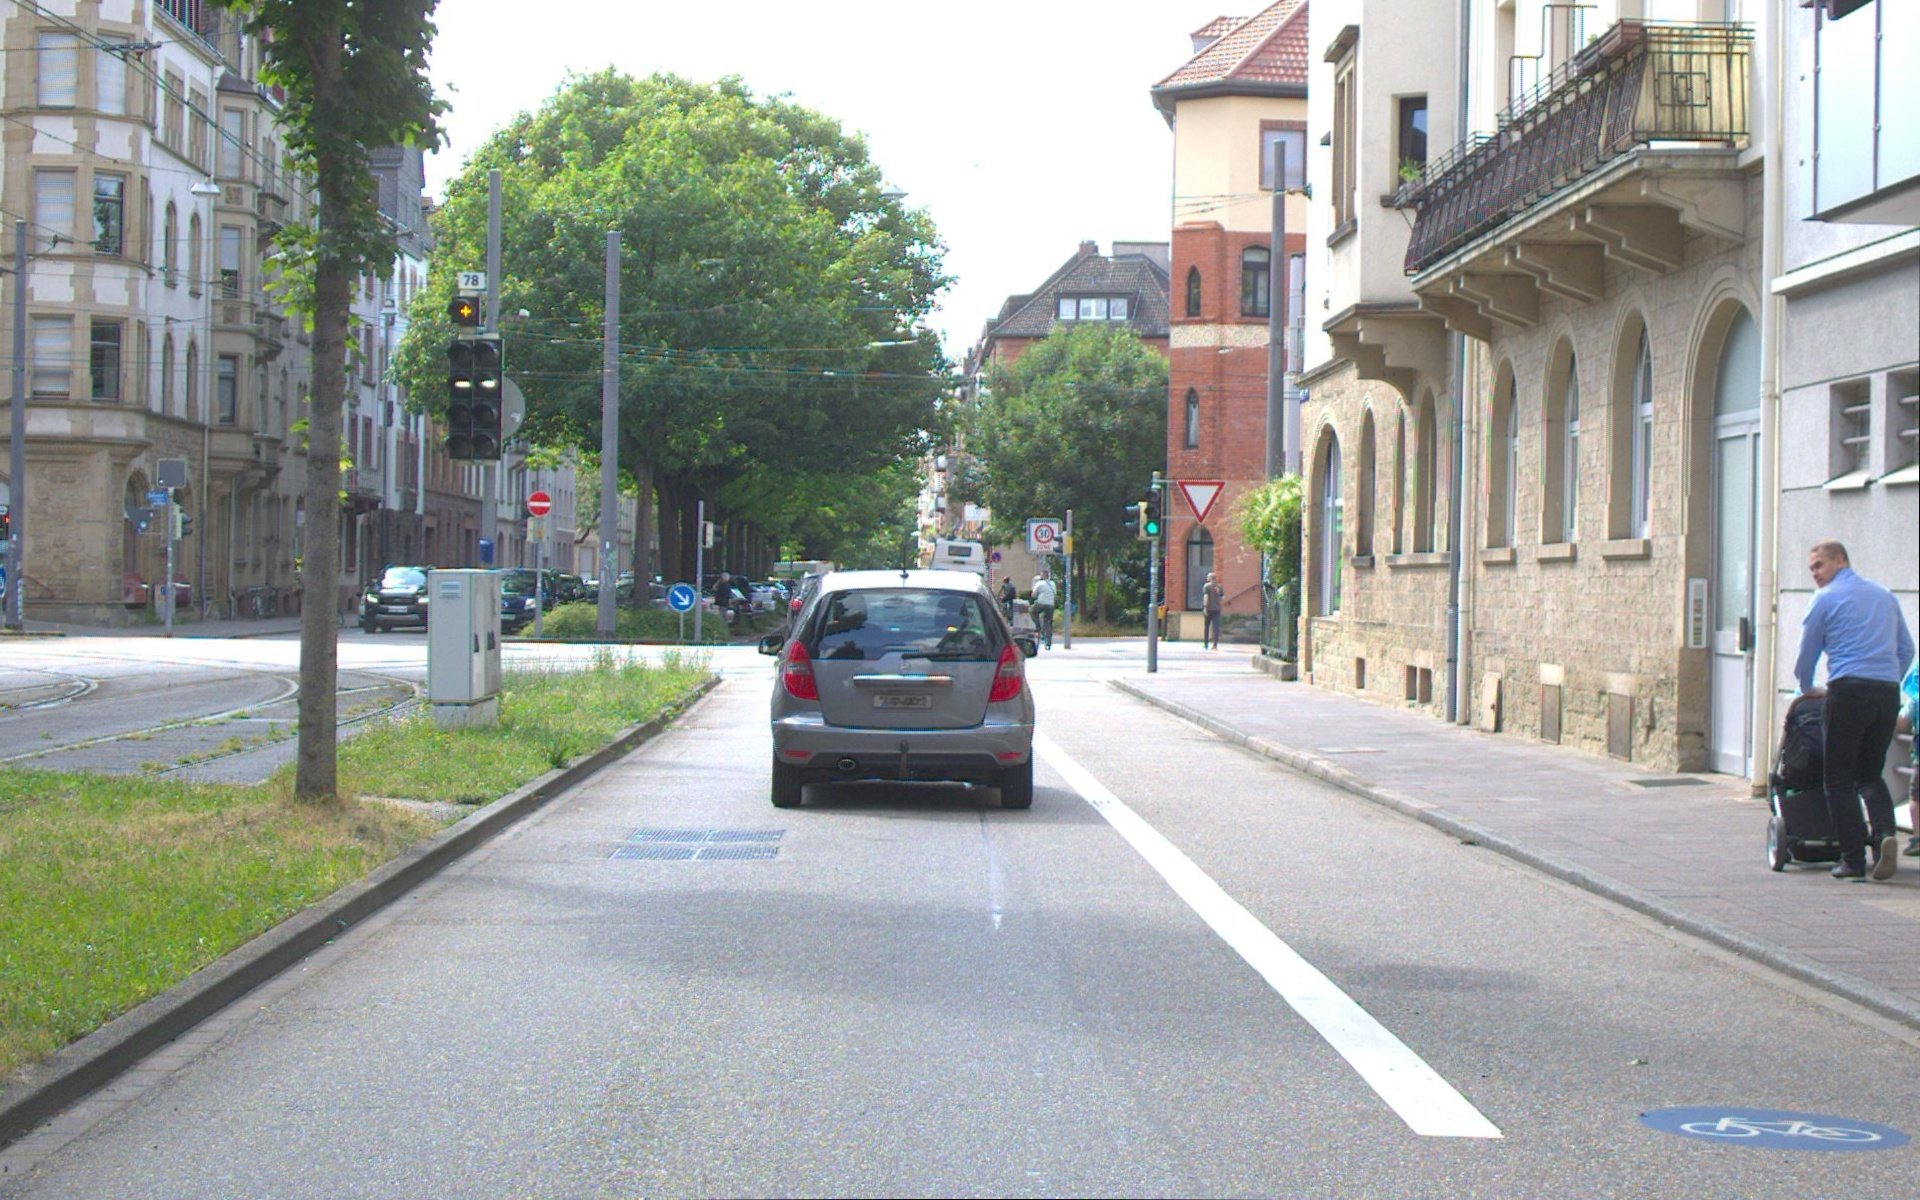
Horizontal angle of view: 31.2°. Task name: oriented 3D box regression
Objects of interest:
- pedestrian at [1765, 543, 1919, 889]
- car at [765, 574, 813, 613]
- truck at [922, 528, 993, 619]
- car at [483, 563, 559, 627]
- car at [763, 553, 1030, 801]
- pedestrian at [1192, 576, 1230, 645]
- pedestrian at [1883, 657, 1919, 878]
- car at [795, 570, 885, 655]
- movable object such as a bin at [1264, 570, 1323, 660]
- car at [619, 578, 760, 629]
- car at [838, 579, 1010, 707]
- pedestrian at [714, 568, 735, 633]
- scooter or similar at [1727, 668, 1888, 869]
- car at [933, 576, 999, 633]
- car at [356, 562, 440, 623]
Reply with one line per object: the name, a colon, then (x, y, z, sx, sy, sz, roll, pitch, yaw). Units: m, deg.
pedestrian: (4.569, 0.580, 17.700, 0.621, 1.733, 0.877, -1, 0, 0)
car: (-6.882, -0.281, 138.571, 1.752, 1.512, 3.499, 1, 0, 0)
truck: (-0.063, -0.863, 114.245, 2.123, 2.960, 4.000, 0, 0, 3)
car: (-12.049, -0.147, 94.560, 1.993, 1.722, 4.001, 0, 0, -6)
car: (-0.417, 0.493, 24.153, 1.722, 1.600, 3.677, 0, 0, 0)
pedestrian: (6.044, 0.248, 82.915, 0.869, 1.651, 0.736, 1, 0, 4)
pedestrian: (5.141, 0.874, 18.030, 0.456, 1.131, 0.494, 1, 0, 0)
car: (-2.458, 0.251, 70.971, 1.722, 1.700, 3.677, 0, 0, 0)
movable object such as a bin: (5.456, 0.243, 56.296, 0.714, 1.467, 0.983, 0, 0, -10)
car: (-7.561, 0.088, 95.871, 1.969, 1.334, 3.999, 1, 0, -40)
car: (-0.433, 0.489, 42.113, 1.980, 1.437, 4.000, 1, 0, 0)
pedestrian: (-6.241, 0.011, 91.176, 0.493, 1.719, 0.654, 1, 0, -5)
scooter or similar: (4.551, 0.894, 18.499, 0.592, 0.998, 0.905, -3, 0, 0)
car: (0.185, 0.127, 101.197, 1.752, 1.627, 3.499, 1, 0, 3)
car: (-15.185, -0.211, 93.049, 1.993, 1.612, 4.001, 0, 0, -6)
